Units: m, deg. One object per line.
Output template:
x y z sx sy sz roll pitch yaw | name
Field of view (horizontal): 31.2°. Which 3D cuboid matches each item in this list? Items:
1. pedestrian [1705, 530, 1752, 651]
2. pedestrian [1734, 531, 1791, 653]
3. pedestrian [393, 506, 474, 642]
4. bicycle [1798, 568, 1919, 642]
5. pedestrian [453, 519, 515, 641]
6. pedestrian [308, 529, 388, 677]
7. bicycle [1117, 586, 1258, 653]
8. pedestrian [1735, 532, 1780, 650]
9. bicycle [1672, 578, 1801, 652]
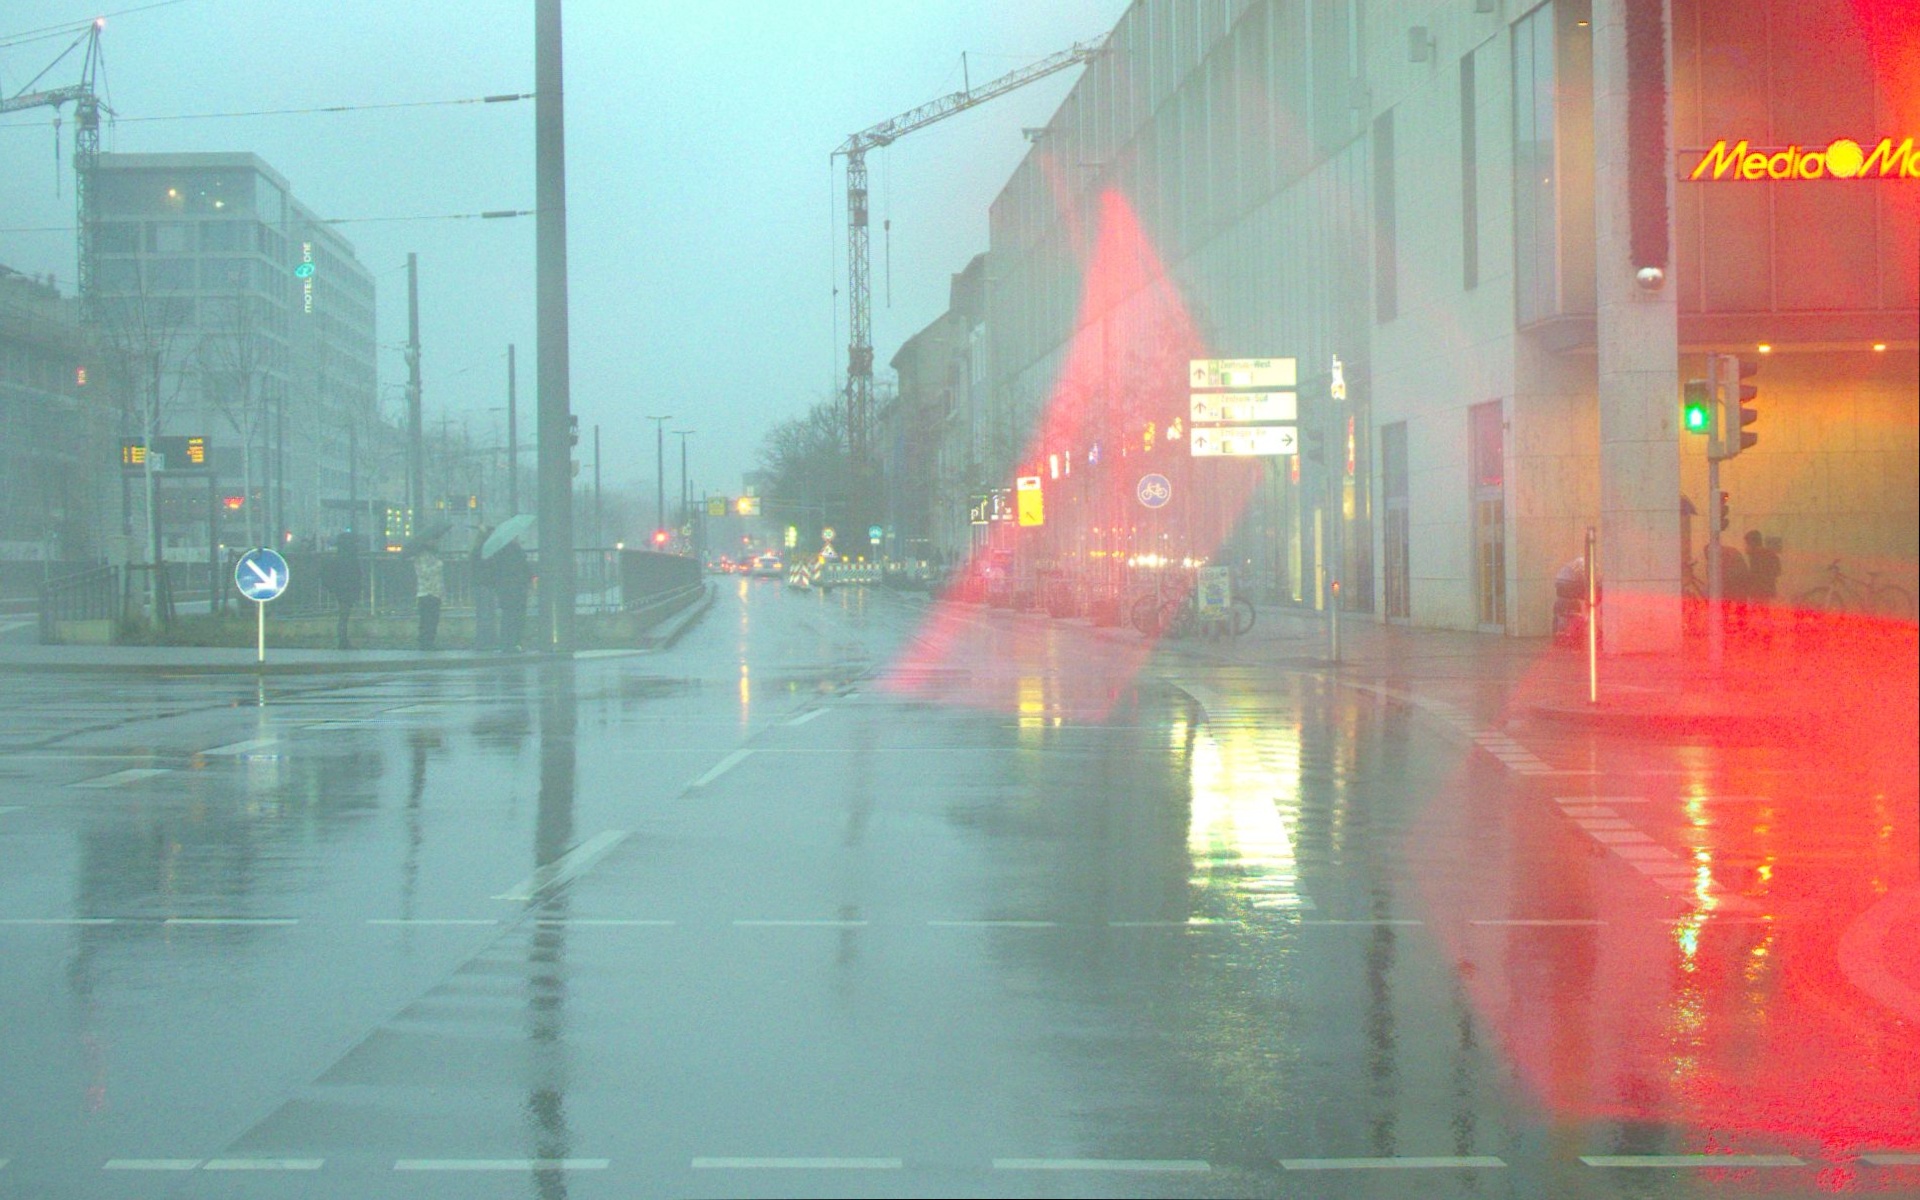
11.208 -0.140 50.130 0.600 1.739 0.524 1 0 8 | pedestrian
11.401 -0.115 48.842 0.636 1.703 0.573 -1 0 -1 | pedestrian
-7.119 -0.352 46.496 0.821 1.825 0.786 1 0 -31 | pedestrian
13.289 0.067 50.811 1.646 1.066 0.525 1 0 -4 | bicycle
-6.644 -0.277 47.944 0.612 1.680 0.577 1 1 42 | pedestrian
-8.428 0.037 47.365 0.785 2.007 0.726 1 1 42 | pedestrian
4.069 0.349 61.548 2.442 1.150 0.674 -1 0 -1 | bicycle
11.319 -0.129 48.778 0.485 1.657 0.457 -1 0 30 | pedestrian
11.435 0.222 50.650 1.767 1.066 0.525 1 0 -5 | bicycle
